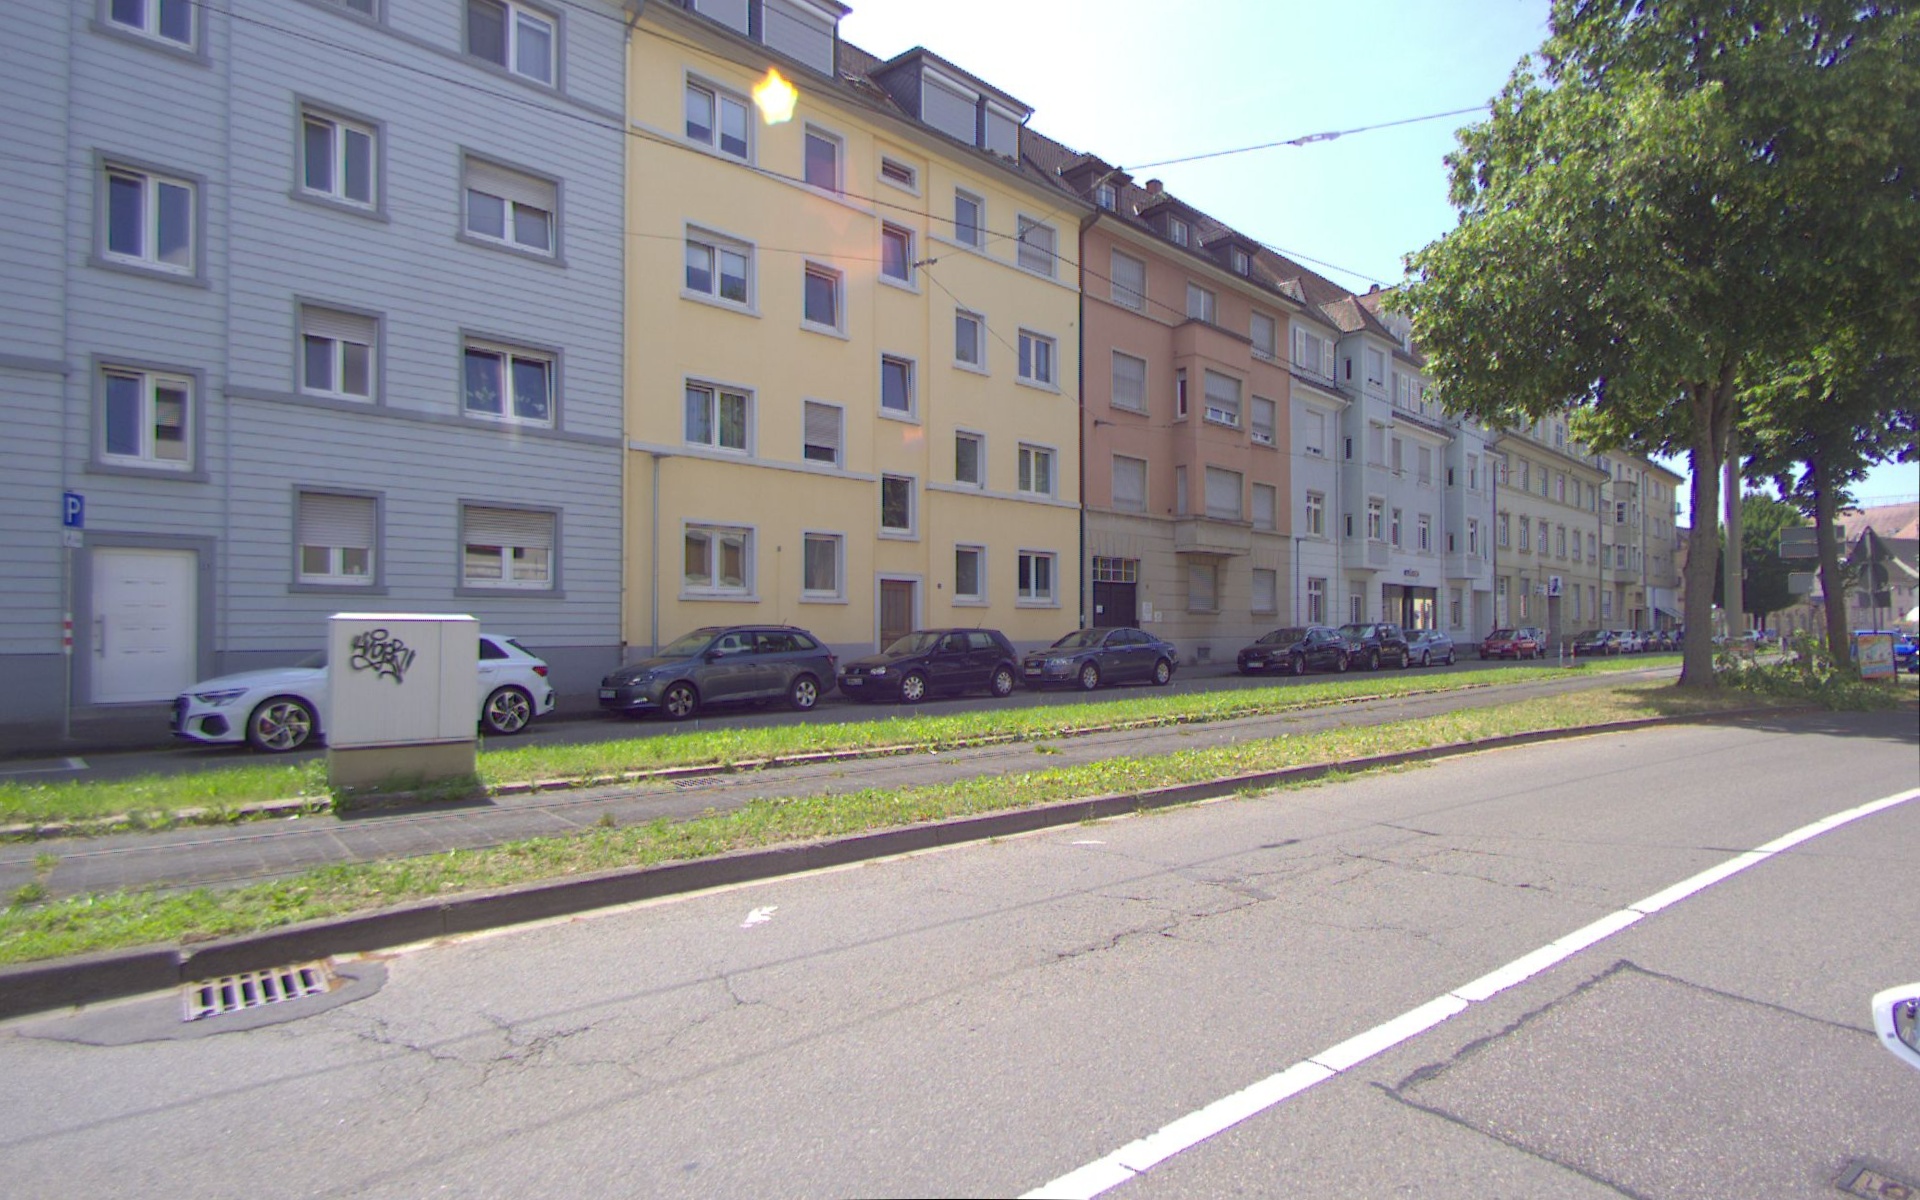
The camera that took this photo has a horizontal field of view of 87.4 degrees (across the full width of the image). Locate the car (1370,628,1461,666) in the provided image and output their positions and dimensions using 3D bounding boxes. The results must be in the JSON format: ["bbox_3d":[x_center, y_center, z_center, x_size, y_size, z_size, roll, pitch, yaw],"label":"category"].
[{"bbox_3d":[17.477,1.761,38.451,4.222,1.374,1.789,1,-3,-45],"label":"car"}]

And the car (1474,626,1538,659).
[{"bbox_3d":[24.918,1.922,45.811,3.602,1.470,1.556,1,-3,-45],"label":"car"}]

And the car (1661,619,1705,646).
[{"bbox_3d":[52.922,2.378,73.482,4.740,1.936,1.835,1,-3,-45],"label":"car"}]

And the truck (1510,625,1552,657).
[{"bbox_3d":[27.791,1.986,48.861,1.114,1.514,2.578,-3,-3,44],"label":"truck"}]

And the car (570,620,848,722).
[{"bbox_3d":[-4.184,1.128,17.216,1.907,1.525,4.300,-2,-2,44],"label":"car"}]

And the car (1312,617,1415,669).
[{"bbox_3d":[14.155,1.495,35.141,4.115,1.707,1.818,1,-3,-45],"label":"car"}]

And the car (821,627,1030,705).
[{"bbox_3d":[-0.626,1.262,20.384,4.114,1.418,1.813,1,-2,-44],"label":"car"}]

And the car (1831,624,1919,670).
[{"bbox_3d":[32.795,1.647,35.932,1.784,1.512,3.991,-1,-1,32],"label":"car"}]

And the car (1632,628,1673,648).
[{"bbox_3d":[46.149,2.529,66.944,3.563,1.294,1.586,1,-3,-45],"label":"car"}]

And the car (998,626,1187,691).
[{"bbox_3d":[3.280,1.345,24.162,4.829,1.416,1.910,1,-3,-43],"label":"car"}]

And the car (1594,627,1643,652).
[{"bbox_3d":[39.532,2.371,60.277,3.832,1.408,1.670,1,-3,-45],"label":"car"}]

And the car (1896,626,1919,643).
[{"bbox_3d":[87.848,3.198,92.737,1.838,1.506,3.982,0,-1,39],"label":"car"}]

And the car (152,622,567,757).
[{"bbox_3d":[-7.701,1.062,13.195,1.908,1.470,4.350,-4,-4,43],"label":"car"}]

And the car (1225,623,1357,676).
[{"bbox_3d":[10.369,1.500,31.263,4.831,1.510,1.909,1,-3,-44],"label":"car"}]

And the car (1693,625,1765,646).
[{"bbox_3d":[58.263,2.679,76.090,4.157,1.524,1.993,-3,-3,42],"label":"car"}]

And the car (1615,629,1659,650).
[{"bbox_3d":[42.937,2.478,63.711,3.267,1.294,1.670,1,-3,-44],"label":"car"}]

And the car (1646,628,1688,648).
[{"bbox_3d":[49.250,2.637,69.973,4.236,1.294,1.625,1,-3,-45],"label":"car"}]

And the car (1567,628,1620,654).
[{"bbox_3d":[35.563,2.303,56.354,3.832,1.378,1.670,1,-3,-45],"label":"car"}]
